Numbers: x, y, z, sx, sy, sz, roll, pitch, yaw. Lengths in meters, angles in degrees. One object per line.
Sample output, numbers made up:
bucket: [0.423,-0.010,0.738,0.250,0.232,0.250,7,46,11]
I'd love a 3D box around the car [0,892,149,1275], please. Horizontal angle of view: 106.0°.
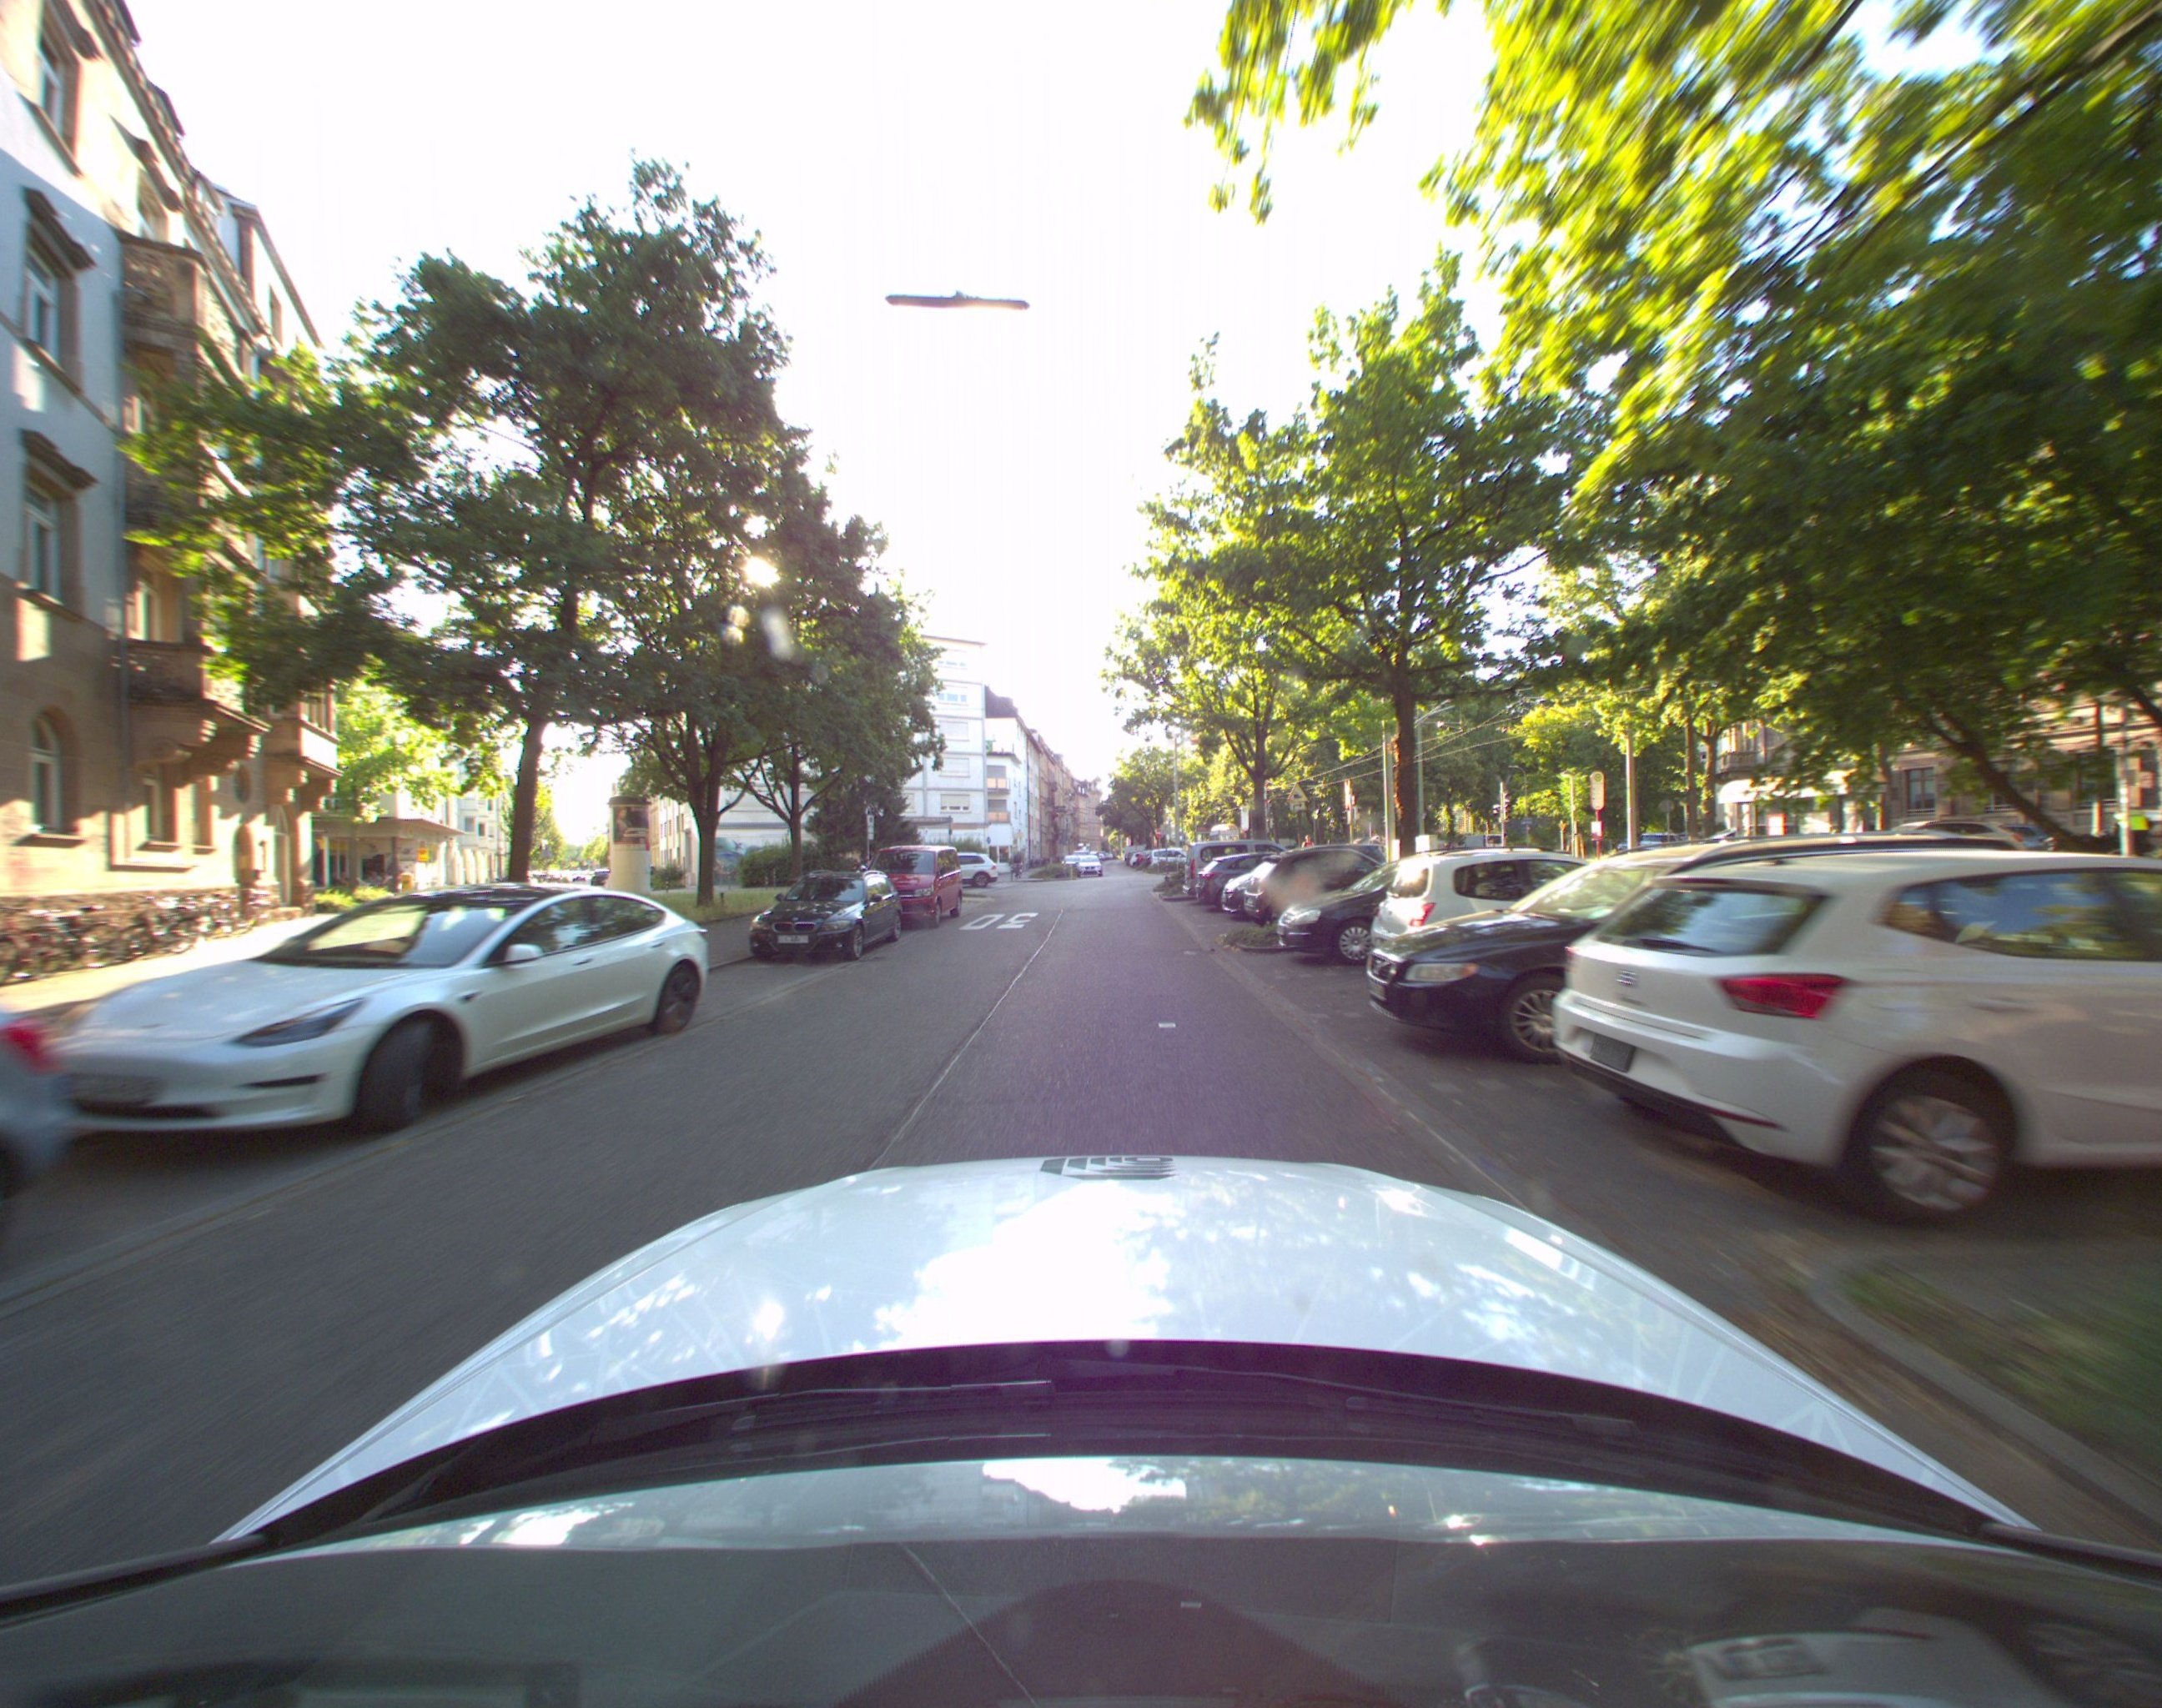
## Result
car: [-5.089,0.922,1.750,1.678,1.475,3.882,0,0,0]

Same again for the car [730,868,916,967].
car: [-4.490,1.031,14.898,1.768,1.433,4.275,0,0,4]

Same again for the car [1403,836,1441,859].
car: [30.540,-0.573,73.050,1.568,1.903,3.897,-2,0,-4]

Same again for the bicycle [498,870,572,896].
bicycle: [-30.569,1.607,45.705,3.390,1.445,0.873,0,-1,-30]

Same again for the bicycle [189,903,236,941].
bicycle: [-19.060,1.487,17.894,0.370,0.732,1.494,-2,0,-34]

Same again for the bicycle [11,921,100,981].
bicycle: [-15.115,1.405,12.037,0.370,0.732,1.494,-2,0,-34]

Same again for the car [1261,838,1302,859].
car: [24.100,-0.697,97.867,4.442,2.476,1.831,1,-1,32]

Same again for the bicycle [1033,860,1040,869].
bicycle: [-4.884,1.136,89.649,0.624,1.003,2.176,-2,0,1]

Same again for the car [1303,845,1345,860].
car: [23.683,-0.172,79.479,3.784,1.391,1.747,1,-1,21]

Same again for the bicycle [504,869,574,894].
bicycle: [-31.977,1.597,48.129,3.390,1.445,0.873,0,-1,-30]

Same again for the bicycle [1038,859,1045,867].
bicycle: [-4.982,1.121,102.996,0.624,1.003,2.176,-2,0,1]

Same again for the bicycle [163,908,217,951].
bicycle: [-17.634,1.474,16.135,0.370,0.732,1.494,-2,0,-34]

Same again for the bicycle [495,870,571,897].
bicycle: [-30.178,1.609,44.940,3.390,1.445,0.873,0,-1,-30]

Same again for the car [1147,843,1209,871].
car: [7.249,0.198,60.837,4.186,1.652,1.618,-6,-1,32]

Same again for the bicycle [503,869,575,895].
bicycle: [-31.457,1.602,47.340,3.390,1.445,0.873,0,-1,-30]

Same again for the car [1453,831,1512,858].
car: [31.288,-0.709,63.635,1.942,2.003,4.649,-2,0,-6]

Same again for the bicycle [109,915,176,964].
bicycle: [-16.378,1.474,14.238,0.370,0.732,1.494,-2,0,-34]

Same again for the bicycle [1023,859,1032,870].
bicycle: [-5.194,1.001,79.086,0.529,1.003,2.177,-2,0,3]

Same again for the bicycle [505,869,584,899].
bicycle: [-28.037,1.541,42.645,3.390,1.445,0.873,-1,-1,-30]

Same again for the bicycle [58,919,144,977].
bicycle: [-14.830,1.399,12.350,0.417,0.732,1.494,-2,0,-34]

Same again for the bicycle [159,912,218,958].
bicycle: [-16.429,1.475,15.017,0.370,0.732,1.494,-2,0,-34]

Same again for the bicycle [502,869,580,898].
bicycle: [-28.776,1.567,43.456,3.390,1.445,0.873,-1,-1,-30]

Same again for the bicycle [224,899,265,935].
bicycle: [-19.930,1.481,19.419,0.370,0.732,1.494,-2,1,-34]

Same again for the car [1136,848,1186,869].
car: [7.415,0.419,75.713,4.188,1.458,1.617,-6,-1,26]

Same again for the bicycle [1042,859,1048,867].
bicycle: [-4.694,1.110,105.452,0.624,1.003,2.176,-2,0,1]

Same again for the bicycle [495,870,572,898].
bicycle: [-29.644,1.612,44.152,3.390,1.445,0.873,0,-1,-30]

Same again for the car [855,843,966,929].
car: [-4.201,0.709,20.798,1.770,1.933,4.773,0,0,1]

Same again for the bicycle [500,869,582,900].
bicycle: [-27.422,1.545,41.462,3.390,1.445,0.873,-1,-1,-30]

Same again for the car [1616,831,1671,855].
car: [41.987,-0.851,60.719,4.306,1.614,1.814,-2,3,-32]

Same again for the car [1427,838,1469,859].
car: [30.822,-0.469,68.476,1.568,1.637,3.705,-2,0,-5]

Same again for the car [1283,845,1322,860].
car: [23.336,-0.161,85.869,3.784,1.421,1.747,1,-1,21]

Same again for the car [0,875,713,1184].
car: [-4.881,0.968,6.413,1.768,1.475,4.275,0,0,4]

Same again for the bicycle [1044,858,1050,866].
bicycle: [-4.577,1.116,108.659,0.624,1.003,2.176,-2,0,1]

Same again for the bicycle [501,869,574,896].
bicycle: [-30.998,1.605,46.514,3.390,1.445,0.873,0,-1,-30]

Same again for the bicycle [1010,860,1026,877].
bicycle: [-4.204,0.937,54.320,0.709,1.051,2.349,-2,0,2]
